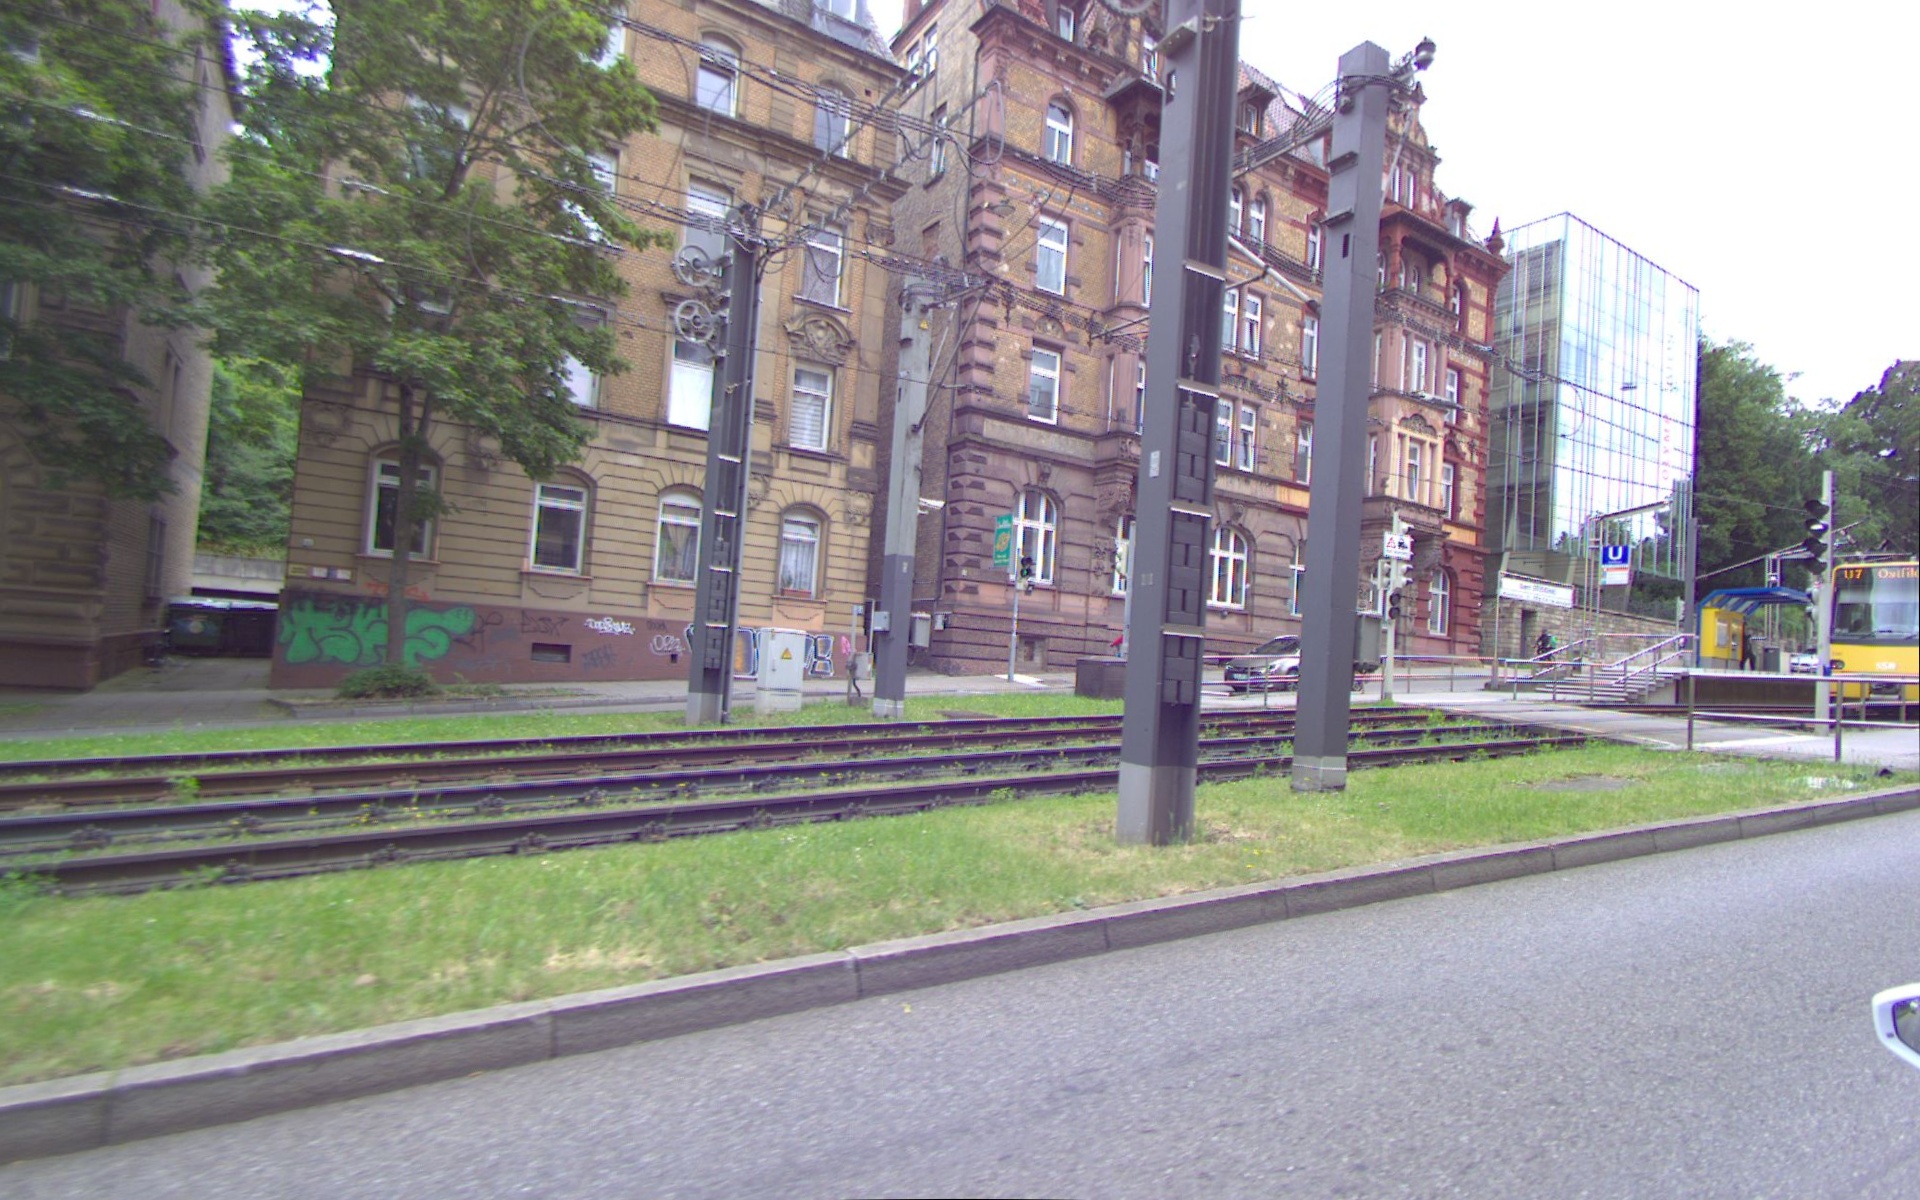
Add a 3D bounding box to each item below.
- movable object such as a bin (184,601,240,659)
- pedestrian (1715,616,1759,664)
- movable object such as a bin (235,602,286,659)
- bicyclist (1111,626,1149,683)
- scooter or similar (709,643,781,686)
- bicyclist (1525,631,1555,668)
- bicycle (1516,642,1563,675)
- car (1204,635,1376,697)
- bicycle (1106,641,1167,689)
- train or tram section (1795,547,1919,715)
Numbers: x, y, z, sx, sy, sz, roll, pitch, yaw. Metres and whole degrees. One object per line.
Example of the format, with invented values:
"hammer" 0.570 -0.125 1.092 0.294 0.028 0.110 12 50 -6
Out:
"movable object such as a bin" -19.644 0.782 26.395 1.027 1.477 1.101 2 0 -31
"pedestrian" 26.562 1.355 34.339 0.757 1.617 0.970 2 -1 -31
"movable object such as a bin" -18.755 0.817 26.956 1.027 1.477 1.101 2 0 -31
"bicyclist" 4.560 1.446 26.902 0.803 1.499 0.615 1 -2 -31
"scooter or similar" -4.969 1.490 23.248 1.567 0.954 0.426 1 -2 -28
"bicyclist" 23.409 1.982 40.538 0.898 1.446 0.763 2 -2 -36
"bicycle" 23.410 2.357 40.535 2.403 1.301 0.767 2 -2 -37
"car" 8.510 1.641 25.771 4.512 1.437 1.871 2 -2 -34
"bicycle" 4.735 1.725 26.976 1.582 1.239 0.622 2 -2 -30
"train or tram section" 25.363 1.106 25.381 12.265 3.589 2.933 5 -3 -32
